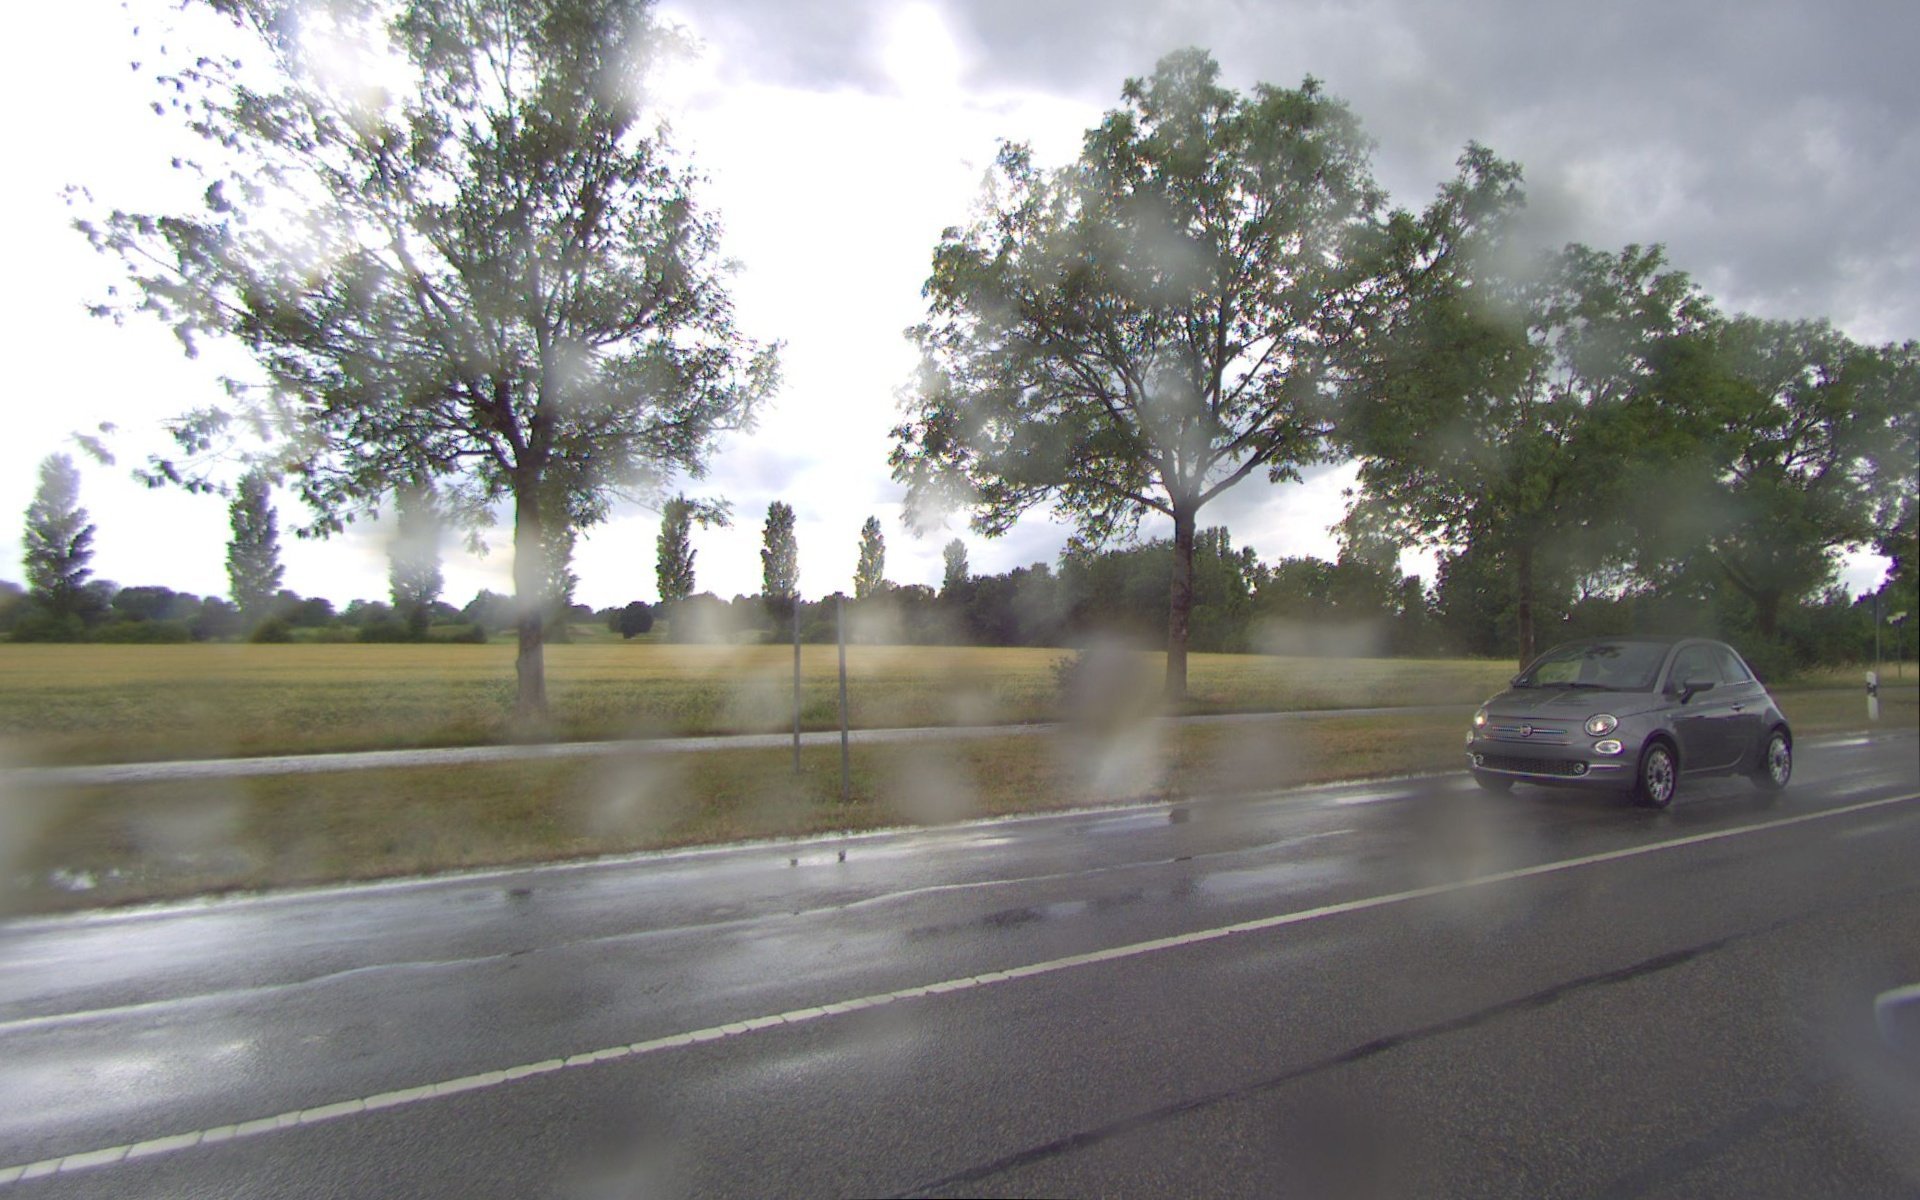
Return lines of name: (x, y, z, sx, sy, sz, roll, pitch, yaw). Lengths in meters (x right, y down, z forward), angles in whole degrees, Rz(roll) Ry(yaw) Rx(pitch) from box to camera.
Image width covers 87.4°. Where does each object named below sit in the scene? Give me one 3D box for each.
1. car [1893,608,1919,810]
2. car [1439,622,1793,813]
car: (9.956, 0.927, 8.151, 4.579, 1.568, 2.290, 2, 0, -31)
car: (6.336, 1.037, 9.670, 3.261, 1.549, 1.494, 2, -4, -30)
